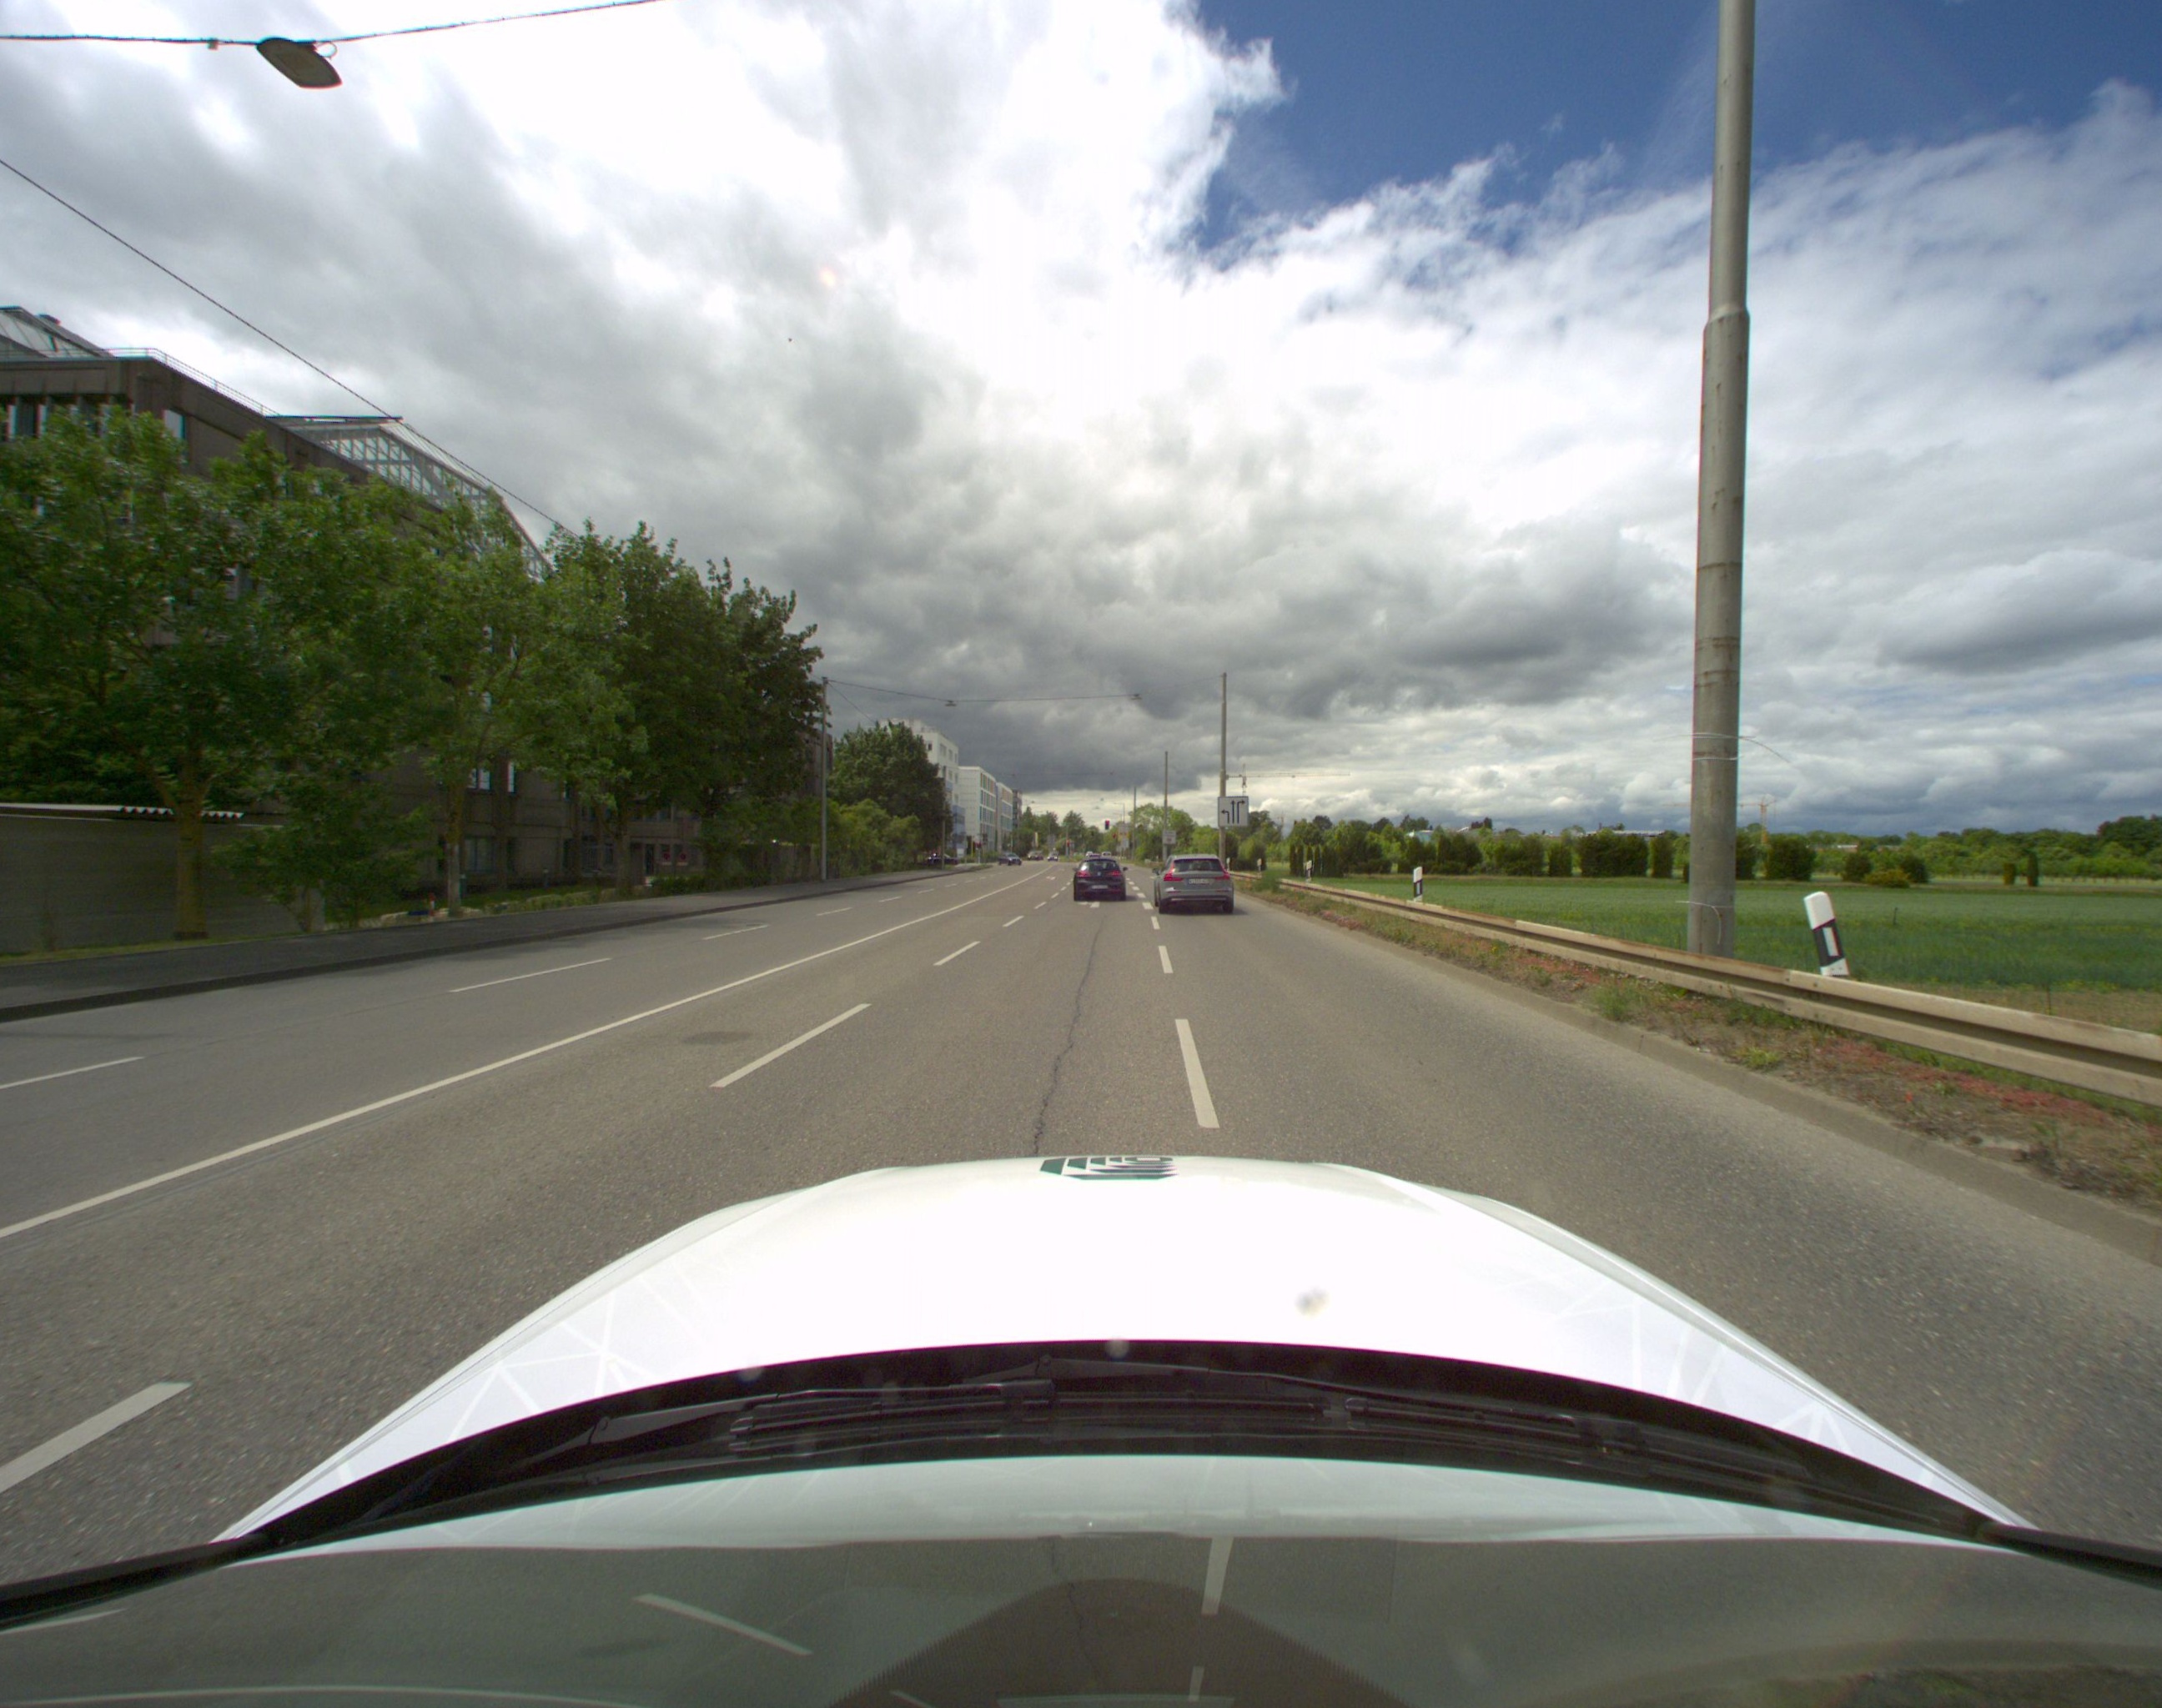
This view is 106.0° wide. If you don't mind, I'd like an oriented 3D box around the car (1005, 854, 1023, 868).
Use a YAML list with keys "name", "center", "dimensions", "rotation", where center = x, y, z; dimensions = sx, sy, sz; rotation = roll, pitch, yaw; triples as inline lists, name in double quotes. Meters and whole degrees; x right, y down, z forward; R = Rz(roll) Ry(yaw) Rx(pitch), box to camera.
- name: "car"
  center: [-8.384, 0.855, 101.768]
  dimensions: [1.791, 1.585, 4.312]
  rotation: [3, 0, 0]

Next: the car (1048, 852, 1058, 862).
- name: "car"
  center: [-4.801, 0.513, 139.352]
  dimensions: [1.664, 1.524, 4.007]
  rotation: [-2, 1, -1]

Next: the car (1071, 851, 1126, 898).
- name: "car"
  center: [0.665, 0.663, 27.963]
  dimensions: [1.741, 1.484, 4.003]
  rotation: [1, 0, 3]

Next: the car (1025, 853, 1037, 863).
- name: "car"
  center: [-8.678, 0.727, 140.922]
  dimensions: [1.746, 1.631, 3.998]
  rotation: [-1, 0, -1]

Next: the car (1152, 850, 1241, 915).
- name: "car"
  center: [2.944, 0.702, 21.630]
  dimensions: [1.950, 1.525, 4.343]
  rotation: [-1, 0, 3]

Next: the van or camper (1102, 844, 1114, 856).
- name: "van or camper"
  center: [5.005, -0.729, 151.304]
  dimensions: [1.895, 1.926, 3.995]
  rotation: [3, -1, -3]

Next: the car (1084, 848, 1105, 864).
- name: "car"
  center: [1.405, 0.181, 84.159]
  dimensions: [1.978, 1.590, 4.224]
  rotation: [1, 1, -1]
